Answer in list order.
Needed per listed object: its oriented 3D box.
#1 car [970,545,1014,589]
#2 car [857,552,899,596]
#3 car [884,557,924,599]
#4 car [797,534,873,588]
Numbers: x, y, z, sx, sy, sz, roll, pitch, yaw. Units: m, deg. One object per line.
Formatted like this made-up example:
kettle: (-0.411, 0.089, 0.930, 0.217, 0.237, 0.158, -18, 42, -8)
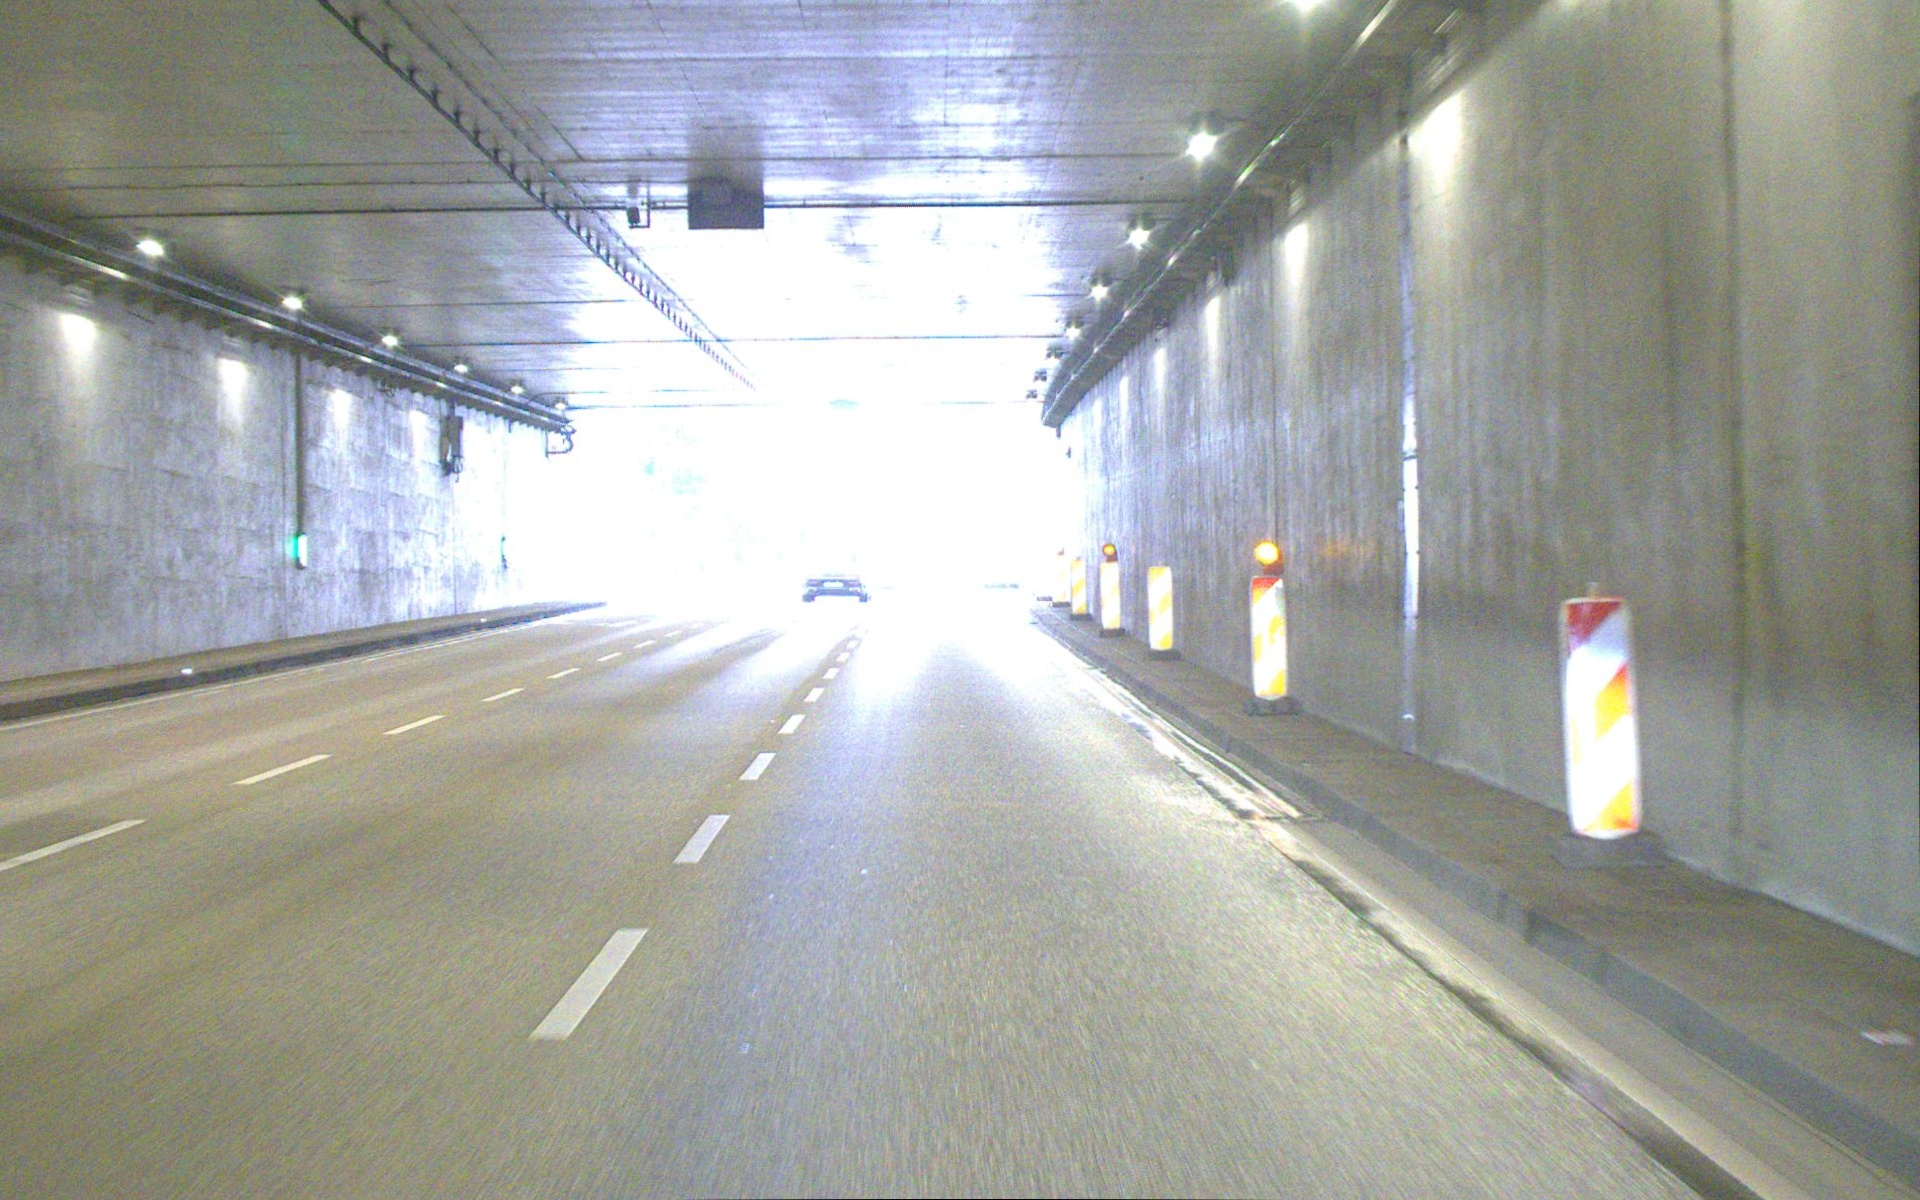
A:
car: (1.537, -1.588, 166.699, 1.993, 2.007, 4.000, 2, 0, 0)
car: (-4.038, -1.268, 168.763, 1.993, 2.007, 4.000, 1, -1, -1)
car: (-2.862, -1.115, 176.239, 1.993, 2.007, 4.000, 1, -1, -1)
car: (-3.509, -1.100, 95.897, 1.993, 1.443, 4.315, 1, 1, -4)
